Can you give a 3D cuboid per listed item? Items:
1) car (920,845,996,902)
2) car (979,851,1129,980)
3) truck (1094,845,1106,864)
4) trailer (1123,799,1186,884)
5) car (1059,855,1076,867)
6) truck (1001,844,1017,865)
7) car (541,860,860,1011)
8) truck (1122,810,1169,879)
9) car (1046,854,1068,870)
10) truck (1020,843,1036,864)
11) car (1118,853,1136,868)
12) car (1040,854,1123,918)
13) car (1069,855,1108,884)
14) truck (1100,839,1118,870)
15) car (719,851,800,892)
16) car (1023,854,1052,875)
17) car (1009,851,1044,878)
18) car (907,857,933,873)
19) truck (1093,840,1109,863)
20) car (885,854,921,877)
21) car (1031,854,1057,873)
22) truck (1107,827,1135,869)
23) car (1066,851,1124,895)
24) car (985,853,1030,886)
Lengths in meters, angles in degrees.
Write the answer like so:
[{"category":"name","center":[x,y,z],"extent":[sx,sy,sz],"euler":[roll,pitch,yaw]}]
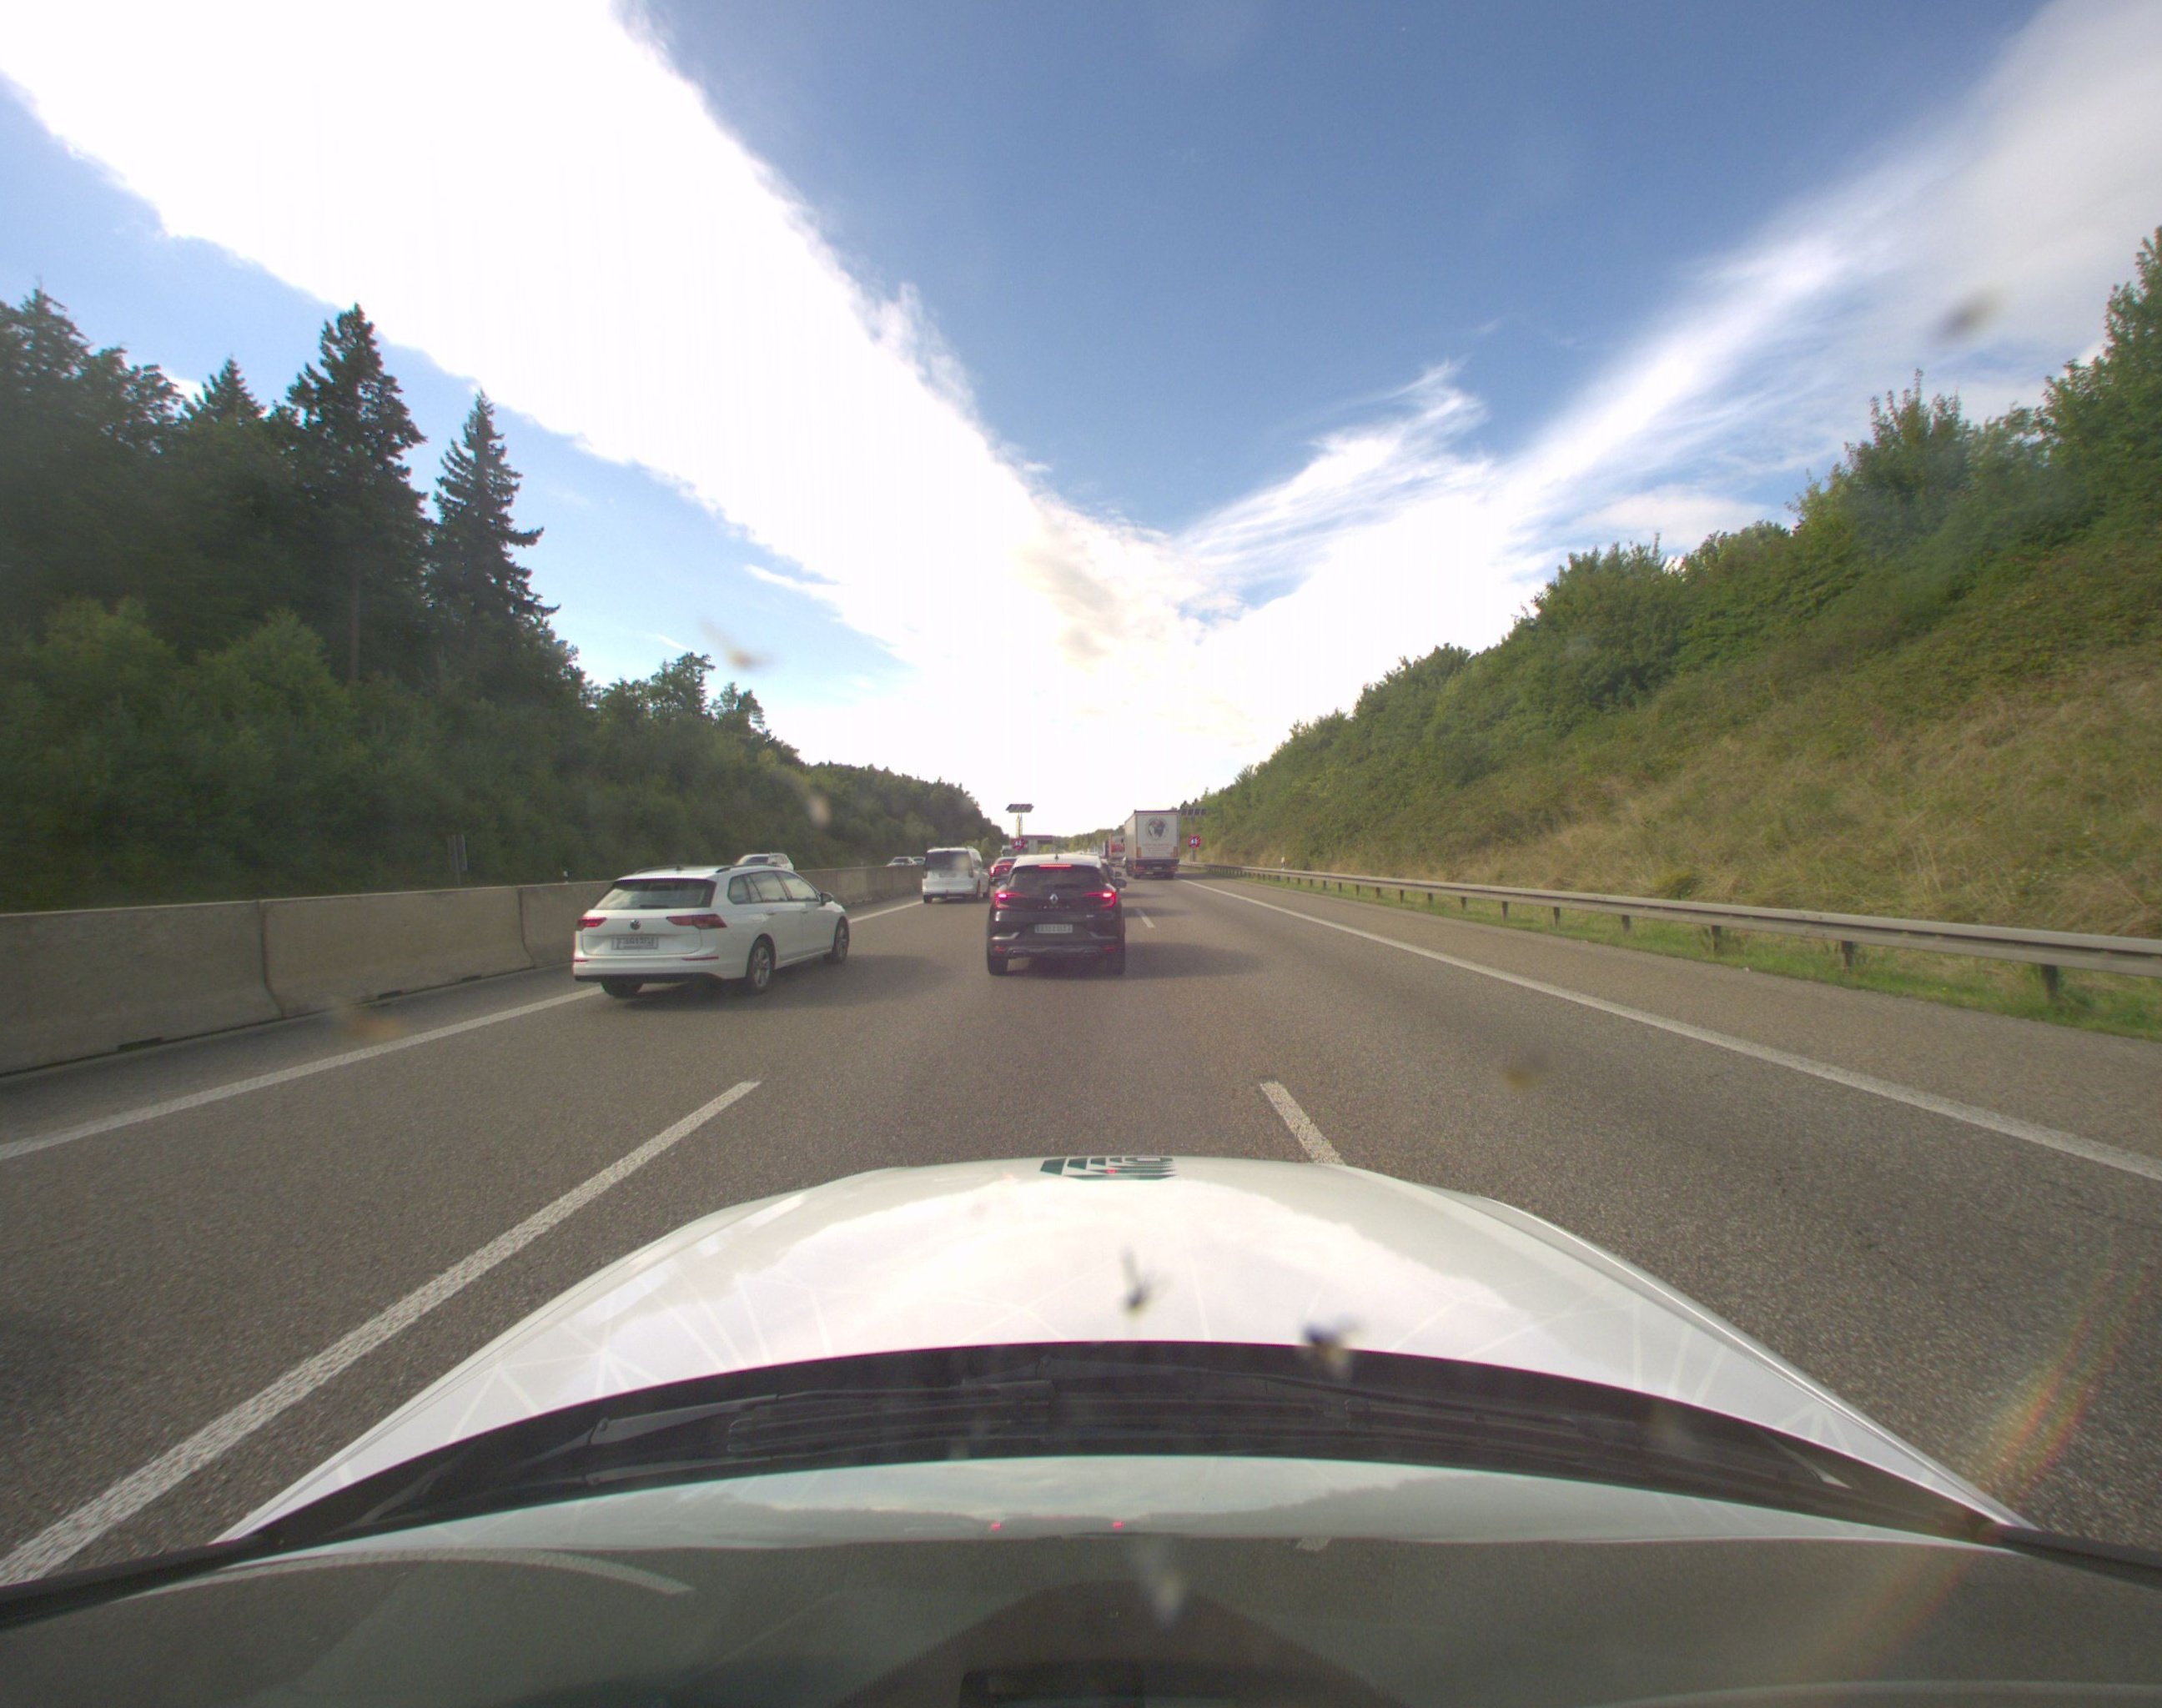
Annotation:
[{"category":"car","center":[-4.131,0.653,28.005],"extent":[1.905,1.789,4.417],"euler":[0,-1,0]},{"category":"car","center":[-0.215,0.760,11.948],"extent":[1.797,1.552,4.004],"euler":[-1,0,4]},{"category":"truck","center":[5.364,0.274,232.553],"extent":[3.154,5.159,12.743],"euler":[0,-1,2]},{"category":"trailer","center":[4.409,-0.673,51.511],"extent":[2.991,4.661,13.292],"euler":[-1,0,1]},{"category":"car","center":[-1.736,0.899,106.908],"extent":[1.986,1.613,4.002],"euler":[-1,0,2]},{"category":"truck","center":[-17.665,0.057,200.537],"extent":[2.880,5.093,10.082],"euler":[0,0,1]},{"category":"car","center":[-4.337,0.825,10.178],"extent":[1.797,1.461,4.311],"euler":[-1,-1,2]},{"category":"truck","center":[4.536,-0.669,58.561],"extent":[2.986,4.667,5.940],"euler":[-1,0,1]},{"category":"car","center":[-2.419,0.808,83.521],"extent":[1.986,1.613,4.002],"euler":[-1,0,2]},{"category":"truck","center":[-12.881,-0.117,197.783],"extent":[2.880,4.934,10.082],"euler":[0,0,1]},{"category":"car","center":[4.993,0.692,88.693],"extent":[1.798,1.533,3.925],"euler":[0,-1,0]},{"category":"car","center":[0.069,0.780,21.558],"extent":[1.986,1.514,4.001],"euler":[0,-1,2]},{"category":"car","center":[0.437,0.810,44.119],"extent":[1.986,1.514,4.001],"euler":[0,-1,2]},{"category":"truck","center":[5.354,0.151,156.069],"extent":[3.154,5.505,12.743],"euler":[0,-1,2]},{"category":"car","center":[-15.366,0.788,39.215],"extent":[1.845,1.810,4.925],"euler":[0,0,1]},{"category":"car","center":[-3.439,0.801,65.297],"extent":[1.986,1.613,4.001],"euler":[0,-1,2]},{"category":"car","center":[-3.609,0.699,54.716],"extent":[1.986,1.722,4.001],"euler":[0,-1,2]},{"category":"car","center":[-18.043,1.209,91.599],"extent":[1.845,1.810,4.925],"euler":[0,0,1]},{"category":"truck","center":[4.907,-0.522,197.992],"extent":[3.153,5.505,12.748],"euler":[0,-1,4]},{"category":"car","center":[-14.894,0.920,68.553],"extent":[1.845,1.810,4.925],"euler":[0,0,1]},{"category":"car","center":[-3.291,0.873,72.831],"extent":[1.986,1.613,4.001],"euler":[0,-1,2]},{"category":"truck","center":[5.022,-0.619,104.046],"extent":[3.352,5.044,12.743],"euler":[0,-1,2]},{"category":"car","center":[0.540,0.674,30.180],"extent":[1.986,1.514,4.001],"euler":[0,-1,2]},{"category":"car","center":[-3.781,0.794,42.545],"extent":[1.848,1.641,3.927],"euler":[0,-1,2]}]
